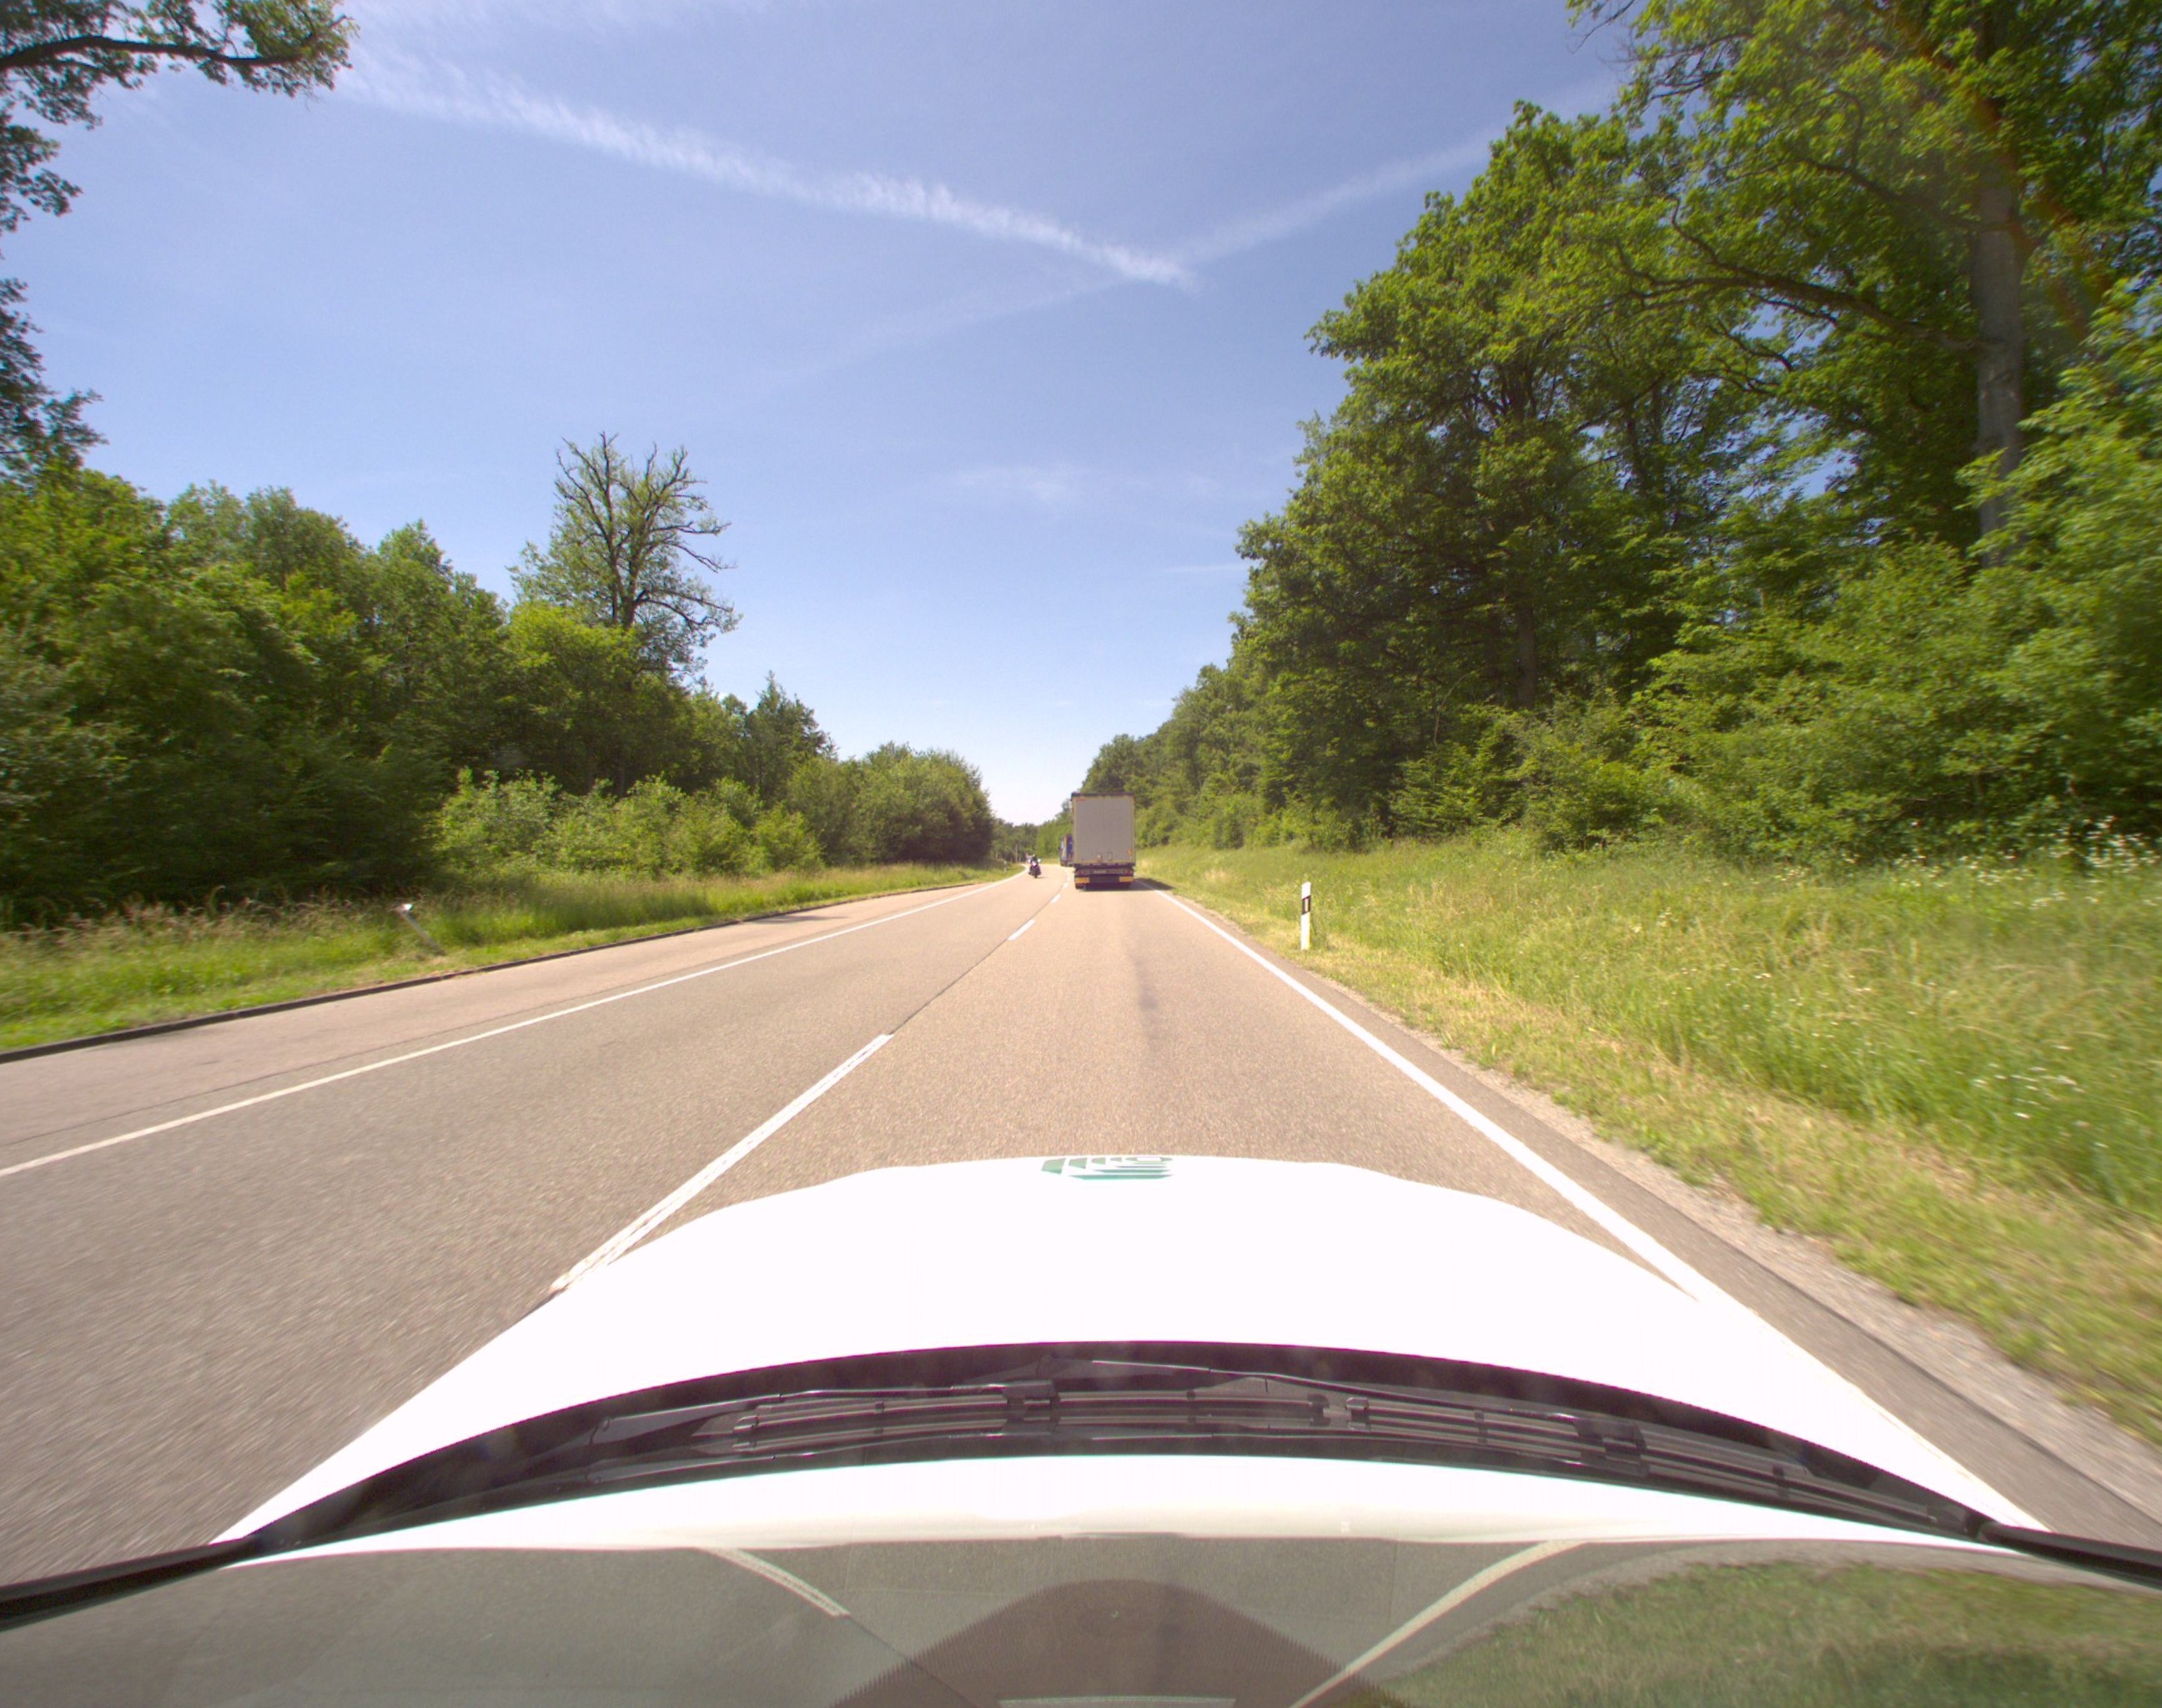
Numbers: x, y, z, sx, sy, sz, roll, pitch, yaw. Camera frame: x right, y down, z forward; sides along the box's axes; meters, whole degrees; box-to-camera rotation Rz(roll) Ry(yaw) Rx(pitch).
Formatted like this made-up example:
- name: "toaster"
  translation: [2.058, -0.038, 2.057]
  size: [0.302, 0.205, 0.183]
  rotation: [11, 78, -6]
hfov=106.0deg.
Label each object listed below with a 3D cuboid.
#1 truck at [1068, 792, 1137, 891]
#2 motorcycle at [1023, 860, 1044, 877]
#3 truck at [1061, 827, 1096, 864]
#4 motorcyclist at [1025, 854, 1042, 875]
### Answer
- name: "truck"
  translation: [1.025, -0.494, 38.785]
  size: [2.751, 3.947, 12.201]
  rotation: [-1, 0, 1]
- name: "motorcycle"
  translation: [-3.168, 0.937, 54.433]
  size: [1.009, 1.062, 2.776]
  rotation: [-1, 0, 5]
- name: "truck"
  translation: [-0.471, -1.024, 105.558]
  size: [3.785, 4.373, 14.901]
  rotation: [0, 0, -3]
- name: "motorcyclist"
  translation: [-3.172, 0.687, 54.403]
  size: [1.005, 1.327, 0.967]
  rotation: [-1, 0, 5]
